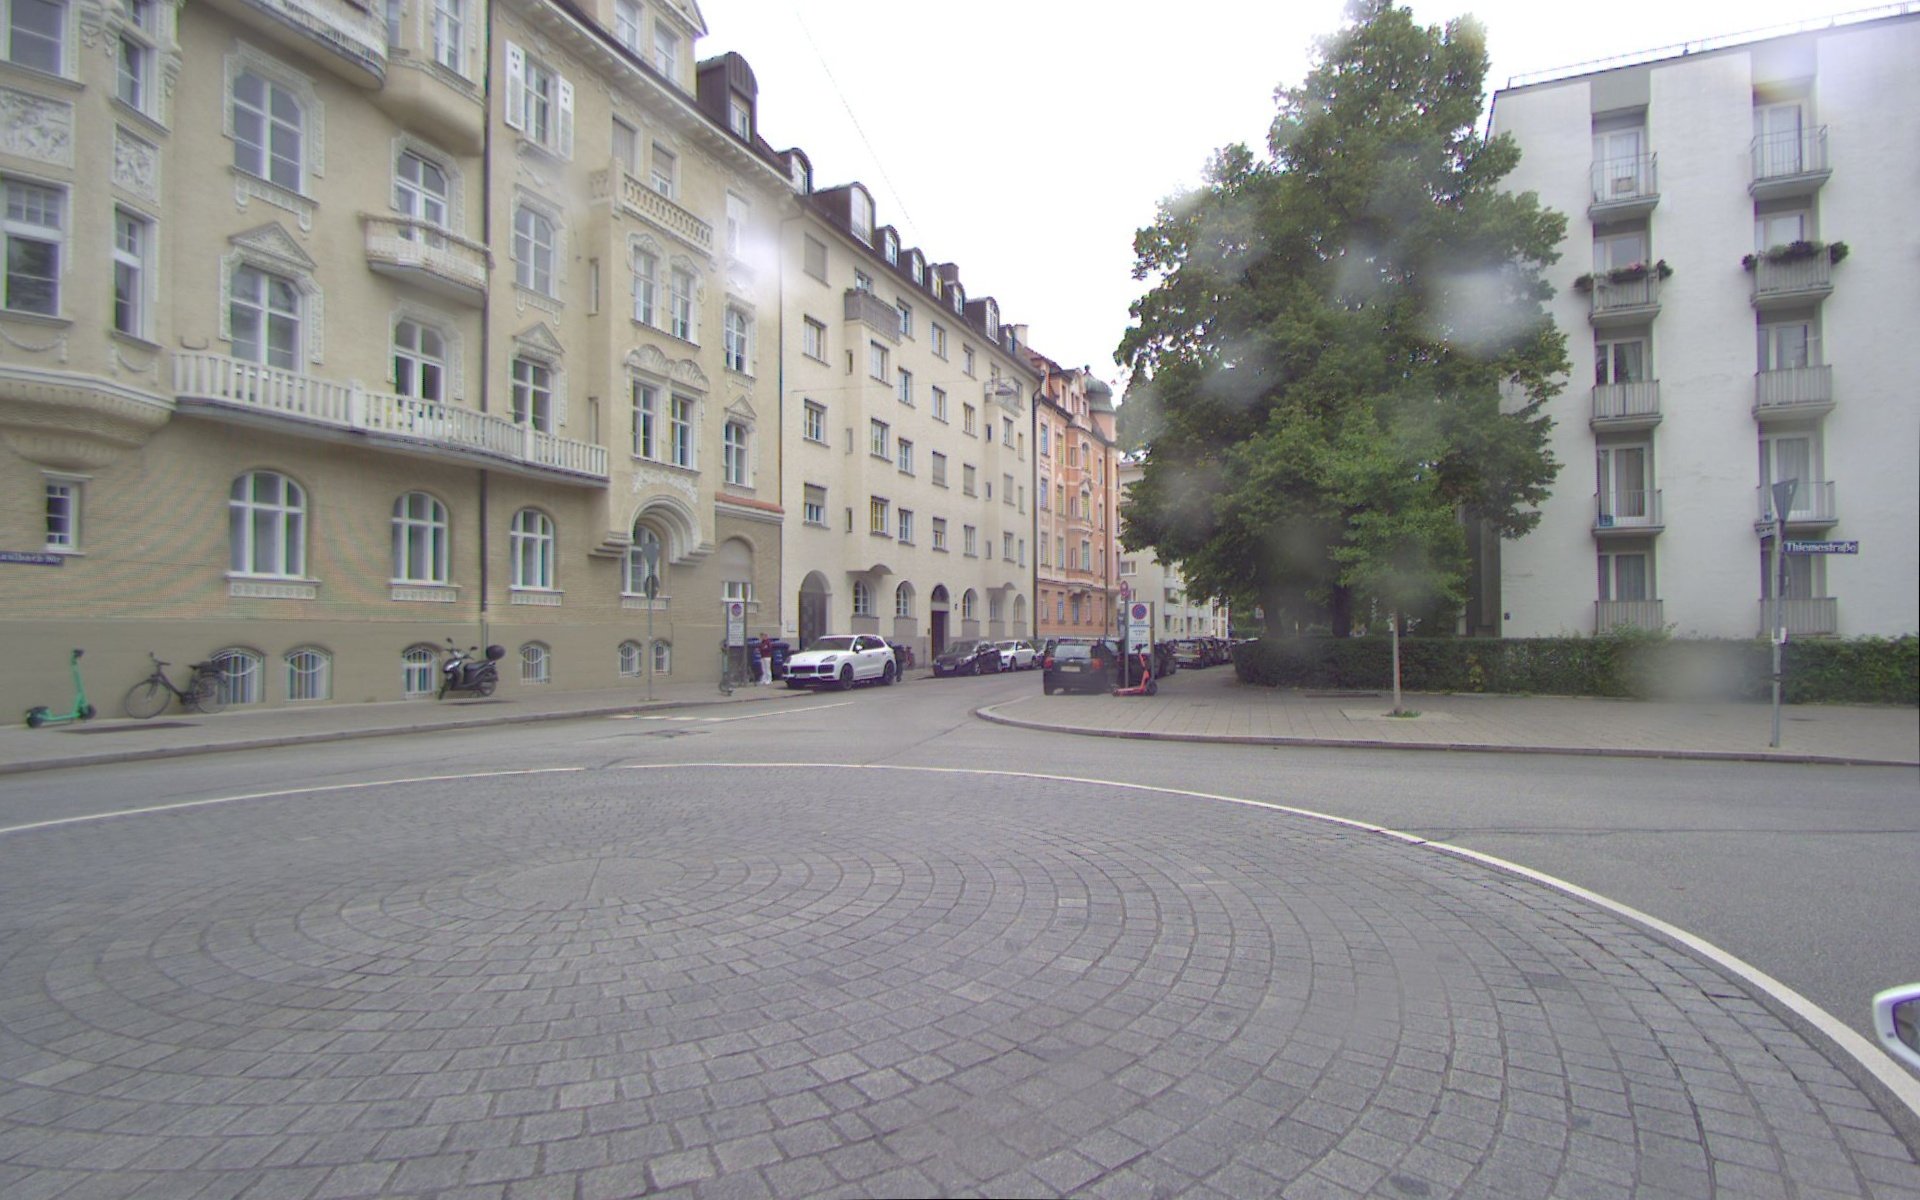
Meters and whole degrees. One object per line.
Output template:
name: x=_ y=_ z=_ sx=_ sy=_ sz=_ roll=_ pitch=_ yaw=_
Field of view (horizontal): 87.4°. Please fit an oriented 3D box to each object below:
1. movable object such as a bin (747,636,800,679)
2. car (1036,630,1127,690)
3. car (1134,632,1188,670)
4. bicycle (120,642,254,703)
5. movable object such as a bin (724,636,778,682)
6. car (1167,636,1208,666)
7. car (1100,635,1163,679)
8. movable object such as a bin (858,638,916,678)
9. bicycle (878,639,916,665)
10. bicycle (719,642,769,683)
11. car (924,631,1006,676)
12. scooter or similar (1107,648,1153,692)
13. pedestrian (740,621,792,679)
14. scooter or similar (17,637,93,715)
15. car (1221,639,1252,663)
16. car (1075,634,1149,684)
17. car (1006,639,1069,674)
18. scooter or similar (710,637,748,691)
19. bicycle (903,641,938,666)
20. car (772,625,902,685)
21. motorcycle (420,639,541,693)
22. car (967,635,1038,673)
movable object such as a bin: x=-6.451 y=1.972 z=34.763 sx=1.319 sy=1.476 sz=1.296 roll=-1 pitch=-2 yaw=23
car: x=3.487 y=1.632 z=28.130 sx=1.741 sy=1.538 sz=4.036 roll=0 pitch=-2 yaw=19
car: x=8.614 y=2.127 z=42.851 sx=1.741 sy=1.538 sz=4.036 roll=0 pitch=-2 yaw=19
bicycle: x=-13.953 y=1.285 z=18.196 sx=0.549 sy=1.036 sz=1.882 roll=0 pitch=-2 yaw=23
movable object such as a bin: x=-6.964 y=1.946 z=33.496 sx=1.319 sy=1.476 sz=1.162 roll=-1 pitch=-2 yaw=23
car: x=12.175 y=2.683 z=53.558 sx=1.741 sy=1.538 sz=4.036 roll=0 pitch=-2 yaw=19
car: x=6.494 y=2.097 z=37.702 sx=1.741 sy=1.538 sz=4.036 roll=0 pitch=-2 yaw=19
movable object such as a bin: x=-2.575 y=2.043 z=35.587 sx=1.532 sy=1.367 sz=1.537 roll=0 pitch=-2 yaw=24
bicycle: x=-2.803 y=2.298 z=44.824 sx=0.740 sy=1.124 sz=2.294 roll=0 pitch=-2 yaw=22
bicycle: x=-6.431 y=1.852 z=30.047 sx=0.540 sy=1.165 sz=1.845 roll=0 pitch=-2 yaw=21
car: x=0.259 y=2.142 z=41.239 sx=1.961 sy=1.714 sz=4.211 roll=0 pitch=-2 yaw=22
scooter or similar: x=4.224 y=1.728 z=24.904 sx=1.118 sy=1.039 sz=0.379 roll=0 pitch=-2 yaw=10
pedestrian: x=-6.246 y=1.597 z=32.341 sx=1.111 sy=1.828 sz=1.271 roll=-1 pitch=-2 yaw=23
scooter or similar: x=-14.396 y=1.183 z=16.016 sx=0.522 sy=1.181 sz=1.347 roll=1 pitch=-2 yaw=-26
car: x=18.435 y=3.355 z=66.941 sx=1.741 sy=1.538 sz=4.036 roll=0 pitch=-2 yaw=19
car: x=5.082 y=1.890 z=33.188 sx=1.741 sy=1.538 sz=4.036 roll=0 pitch=-2 yaw=19
car: x=3.964 y=2.798 z=50.598 sx=1.961 sy=1.616 sz=4.211 roll=0 pitch=-2 yaw=22
scooter or similar: x=-6.220 y=1.694 z=27.058 sx=0.700 sy=1.413 sz=1.347 roll=1 pitch=-2 yaw=-26
bicycle: x=-1.840 y=2.493 z=47.164 sx=0.740 sy=1.124 sz=2.294 roll=0 pitch=-2 yaw=22
car: x=-3.741 y=1.655 z=31.450 sx=1.961 sy=1.714 sz=4.809 roll=0 pitch=-2 yaw=22
motorcycle: x=-11.284 y=1.522 z=23.754 sx=0.987 sy=1.195 sz=2.563 roll=0 pitch=-2 yaw=22
car: x=2.005 y=2.425 z=45.855 sx=1.961 sy=1.616 sz=4.211 roll=0 pitch=-2 yaw=22
